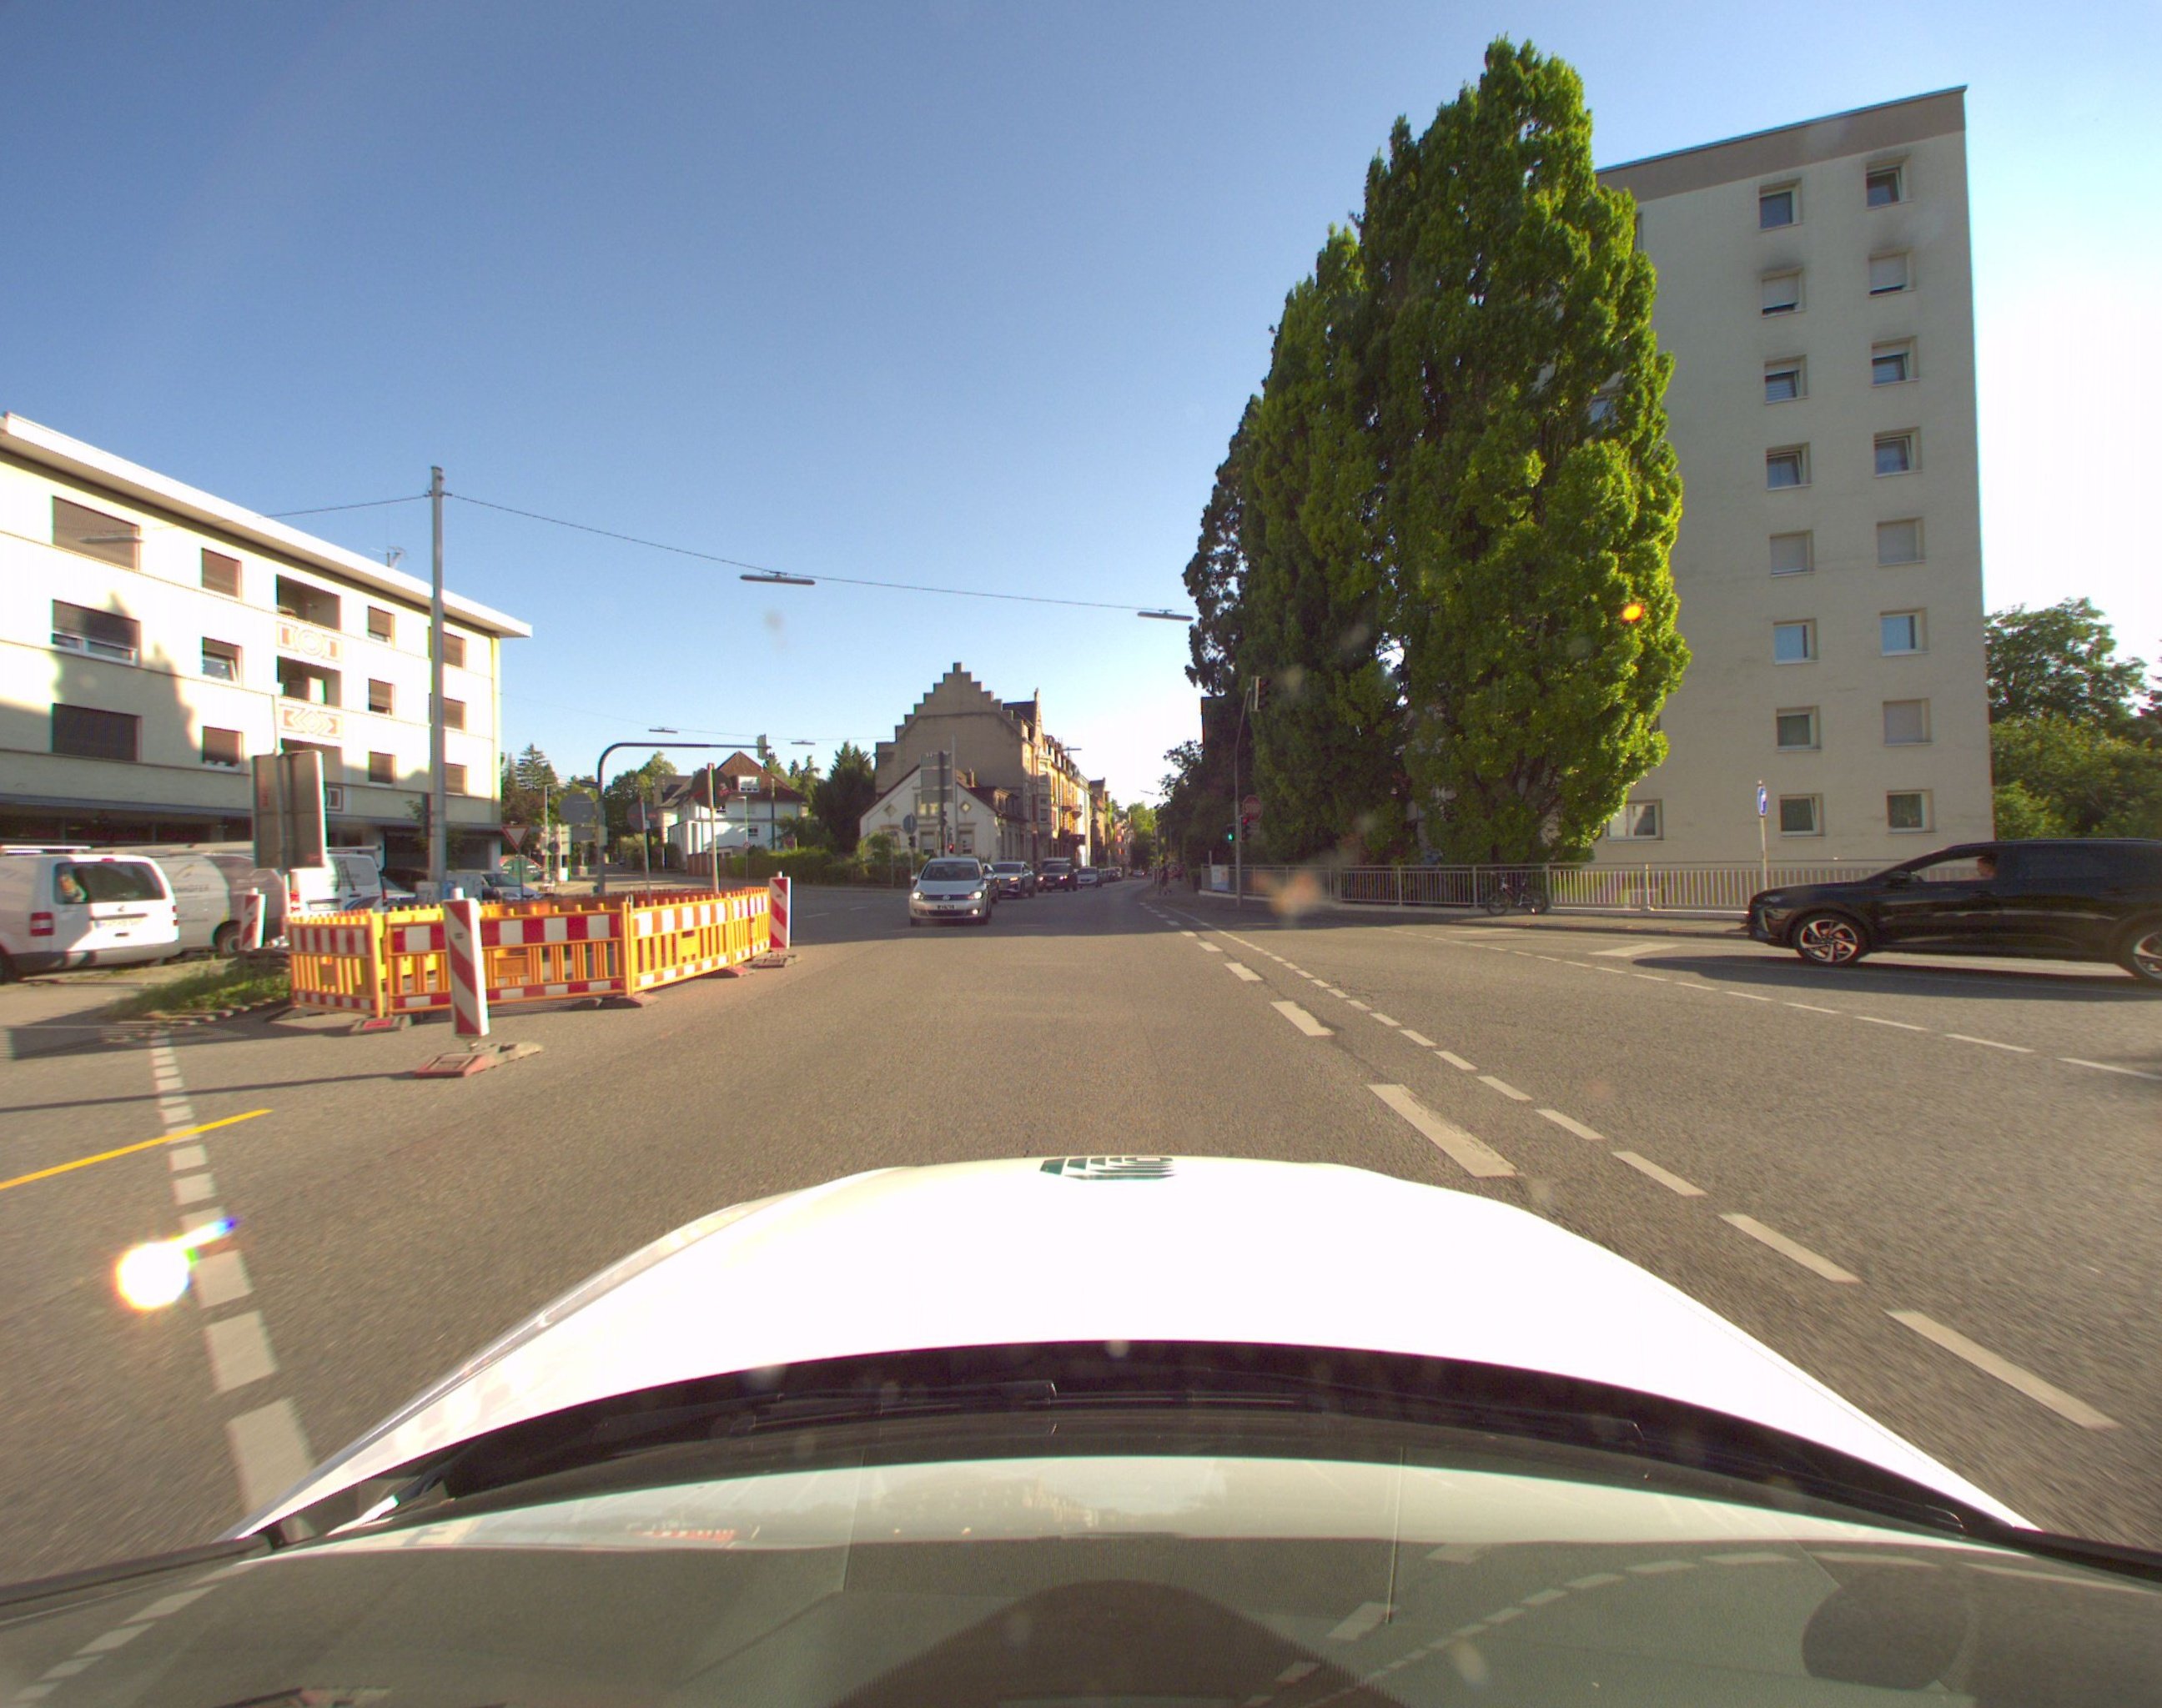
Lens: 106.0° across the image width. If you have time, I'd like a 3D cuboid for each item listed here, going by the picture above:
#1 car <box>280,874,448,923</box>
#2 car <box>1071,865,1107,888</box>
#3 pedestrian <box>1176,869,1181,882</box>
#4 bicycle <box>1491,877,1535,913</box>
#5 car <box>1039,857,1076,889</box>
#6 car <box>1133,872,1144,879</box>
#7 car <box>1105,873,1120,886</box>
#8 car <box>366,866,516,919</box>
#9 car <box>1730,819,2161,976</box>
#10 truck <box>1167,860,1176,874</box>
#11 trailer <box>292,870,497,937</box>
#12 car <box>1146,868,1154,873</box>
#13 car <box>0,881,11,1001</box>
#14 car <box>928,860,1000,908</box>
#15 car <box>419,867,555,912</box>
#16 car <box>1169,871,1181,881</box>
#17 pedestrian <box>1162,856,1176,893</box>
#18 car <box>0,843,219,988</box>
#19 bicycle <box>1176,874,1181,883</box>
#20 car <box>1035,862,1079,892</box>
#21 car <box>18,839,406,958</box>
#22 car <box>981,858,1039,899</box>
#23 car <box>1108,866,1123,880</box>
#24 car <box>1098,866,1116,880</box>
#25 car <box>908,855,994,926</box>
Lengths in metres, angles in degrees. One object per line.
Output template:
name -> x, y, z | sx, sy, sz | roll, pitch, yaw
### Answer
car -> -22.800, 1.377, 25.941 | 4.280, 1.398, 2.009 | 0, 0, 16
car -> 0.632, 1.661, 61.045 | 1.941, 1.648, 4.296 | 0, 0, 10
pedestrian -> 10.707, 2.317, 89.570 | 0.595, 1.403, 0.669 | 0, 0, 5
bicycle -> 11.405, 1.077, 21.491 | 1.292, 0.903, 0.406 | 0, 0, -30
car -> -1.816, 1.514, 65.138 | 2.057, 2.460, 6.026 | 0, -1, 7
car -> 12.559, 4.658, 177.169 | 1.983, 1.491, 4.479 | -2, 0, 7
car -> 4.103, 3.289, 105.589 | 1.694, 1.738, 3.863 | 0, -1, 6
car -> -22.359, 1.284, 28.485 | 4.280, 1.715, 2.009 | 0, 0, 17
car -> 11.326, 0.520, 10.294 | 2.010, 1.670, 4.608 | 3, -3, -42
truck -> 20.513, 2.919, 185.093 | 1.983, 2.897, 4.478 | -2, 0, 7
trailer -> -15.300, 1.084, 18.270 | 3.242, 1.397, 1.574 | 0, 0, 1
car -> 20.613, 4.908, 243.272 | 1.983, 1.491, 4.479 | -2, 0, 7
car -> -15.314, 1.086, 9.097 | 3.979, 1.479, 1.999 | 0, 0, -1
car -> -3.839, 0.941, 27.359 | 1.769, 1.480, 4.096 | 0, 0, 0
car -> -22.739, 1.319, 31.199 | 4.280, 1.611, 2.009 | 0, 0, 17
car -> 16.598, 3.889, 144.028 | 1.982, 1.517, 4.010 | -2, 0, 8
pedestrian -> 4.140, 0.965, 38.277 | 0.599, 1.693, 0.613 | -2, 0, 6
car -> -15.401, 0.789, 11.630 | 4.292, 1.852, 2.003 | 0, 0, 6
bicycle -> 10.647, 2.656, 88.977 | 0.563, 0.970, 0.493 | 0, 0, 5
car -> -1.347, 1.321, 48.011 | 1.943, 1.648, 4.292 | 0, 0, 7
car -> -15.253, 0.731, 14.521 | 4.650, 1.965, 2.118 | 0, 0, 1
car -> -3.045, 1.021, 35.766 | 1.767, 1.648, 4.540 | 0, 0, 5
car -> 4.918, 2.668, 116.265 | 1.784, 2.010, 4.705 | 0, -1, 6
car -> 3.202, 2.304, 99.059 | 1.693, 1.708, 4.450 | 0, -1, 8
car -> -3.033, 0.797, 19.757 | 1.773, 1.543, 3.993 | 0, 0, -5
